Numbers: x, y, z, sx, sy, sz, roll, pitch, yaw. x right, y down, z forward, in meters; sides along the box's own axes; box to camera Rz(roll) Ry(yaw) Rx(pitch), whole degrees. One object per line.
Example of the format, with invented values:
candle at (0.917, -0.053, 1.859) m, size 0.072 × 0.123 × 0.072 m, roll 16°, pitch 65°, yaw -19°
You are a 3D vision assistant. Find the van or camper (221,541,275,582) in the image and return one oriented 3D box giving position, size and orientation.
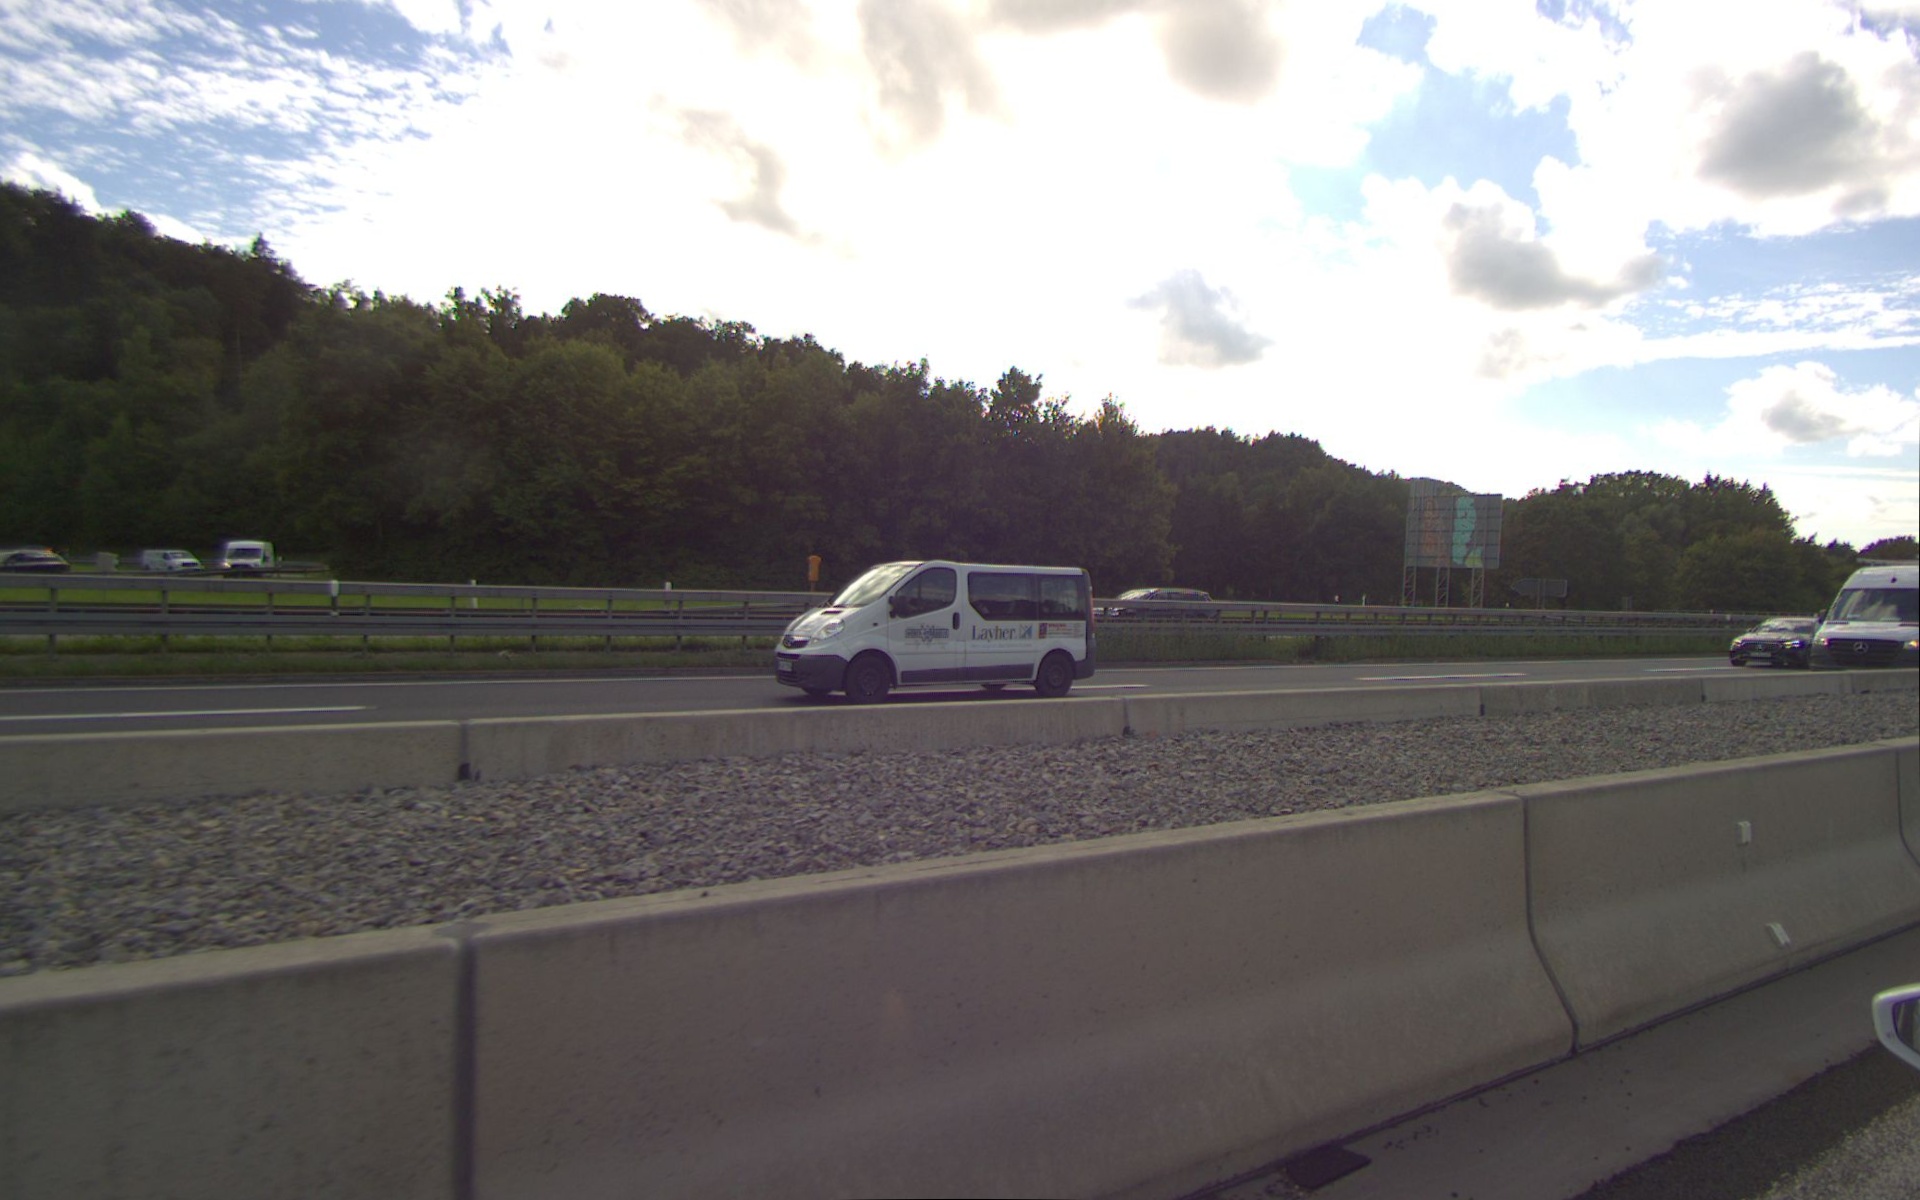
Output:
van or camper at (-43.479, -2.333, 61.449) m, size 2.081 × 2.279 × 5.686 m, roll 1°, pitch 1°, yaw -30°

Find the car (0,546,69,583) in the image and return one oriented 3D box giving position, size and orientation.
car at (-38.669, -1.448, 40.545) m, size 1.698 × 1.470 × 4.302 m, roll 2°, pitch 1°, yaw -3°

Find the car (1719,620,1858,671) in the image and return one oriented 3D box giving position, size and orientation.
car at (25.816, 1.380, 31.247) m, size 5.179 × 1.440 × 1.873 m, roll 1°, pitch -1°, yaw -33°

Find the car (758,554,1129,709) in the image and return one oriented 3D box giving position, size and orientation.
car at (-0.137, 0.446, 14.766) m, size 5.228 × 1.931 × 1.904 m, roll 1°, pitch 0°, yaw -32°

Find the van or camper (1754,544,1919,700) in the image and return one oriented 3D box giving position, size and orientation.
van or camper at (20.889, 0.465, 21.727) m, size 7.379 × 2.956 × 3.319 m, roll 1°, pitch 1°, yaw -30°

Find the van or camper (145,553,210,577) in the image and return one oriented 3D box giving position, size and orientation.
van or camper at (-65.507, -2.920, 84.046) m, size 5.035 × 1.883 × 1.813 m, roll 2°, pitch 1°, yaw 19°
